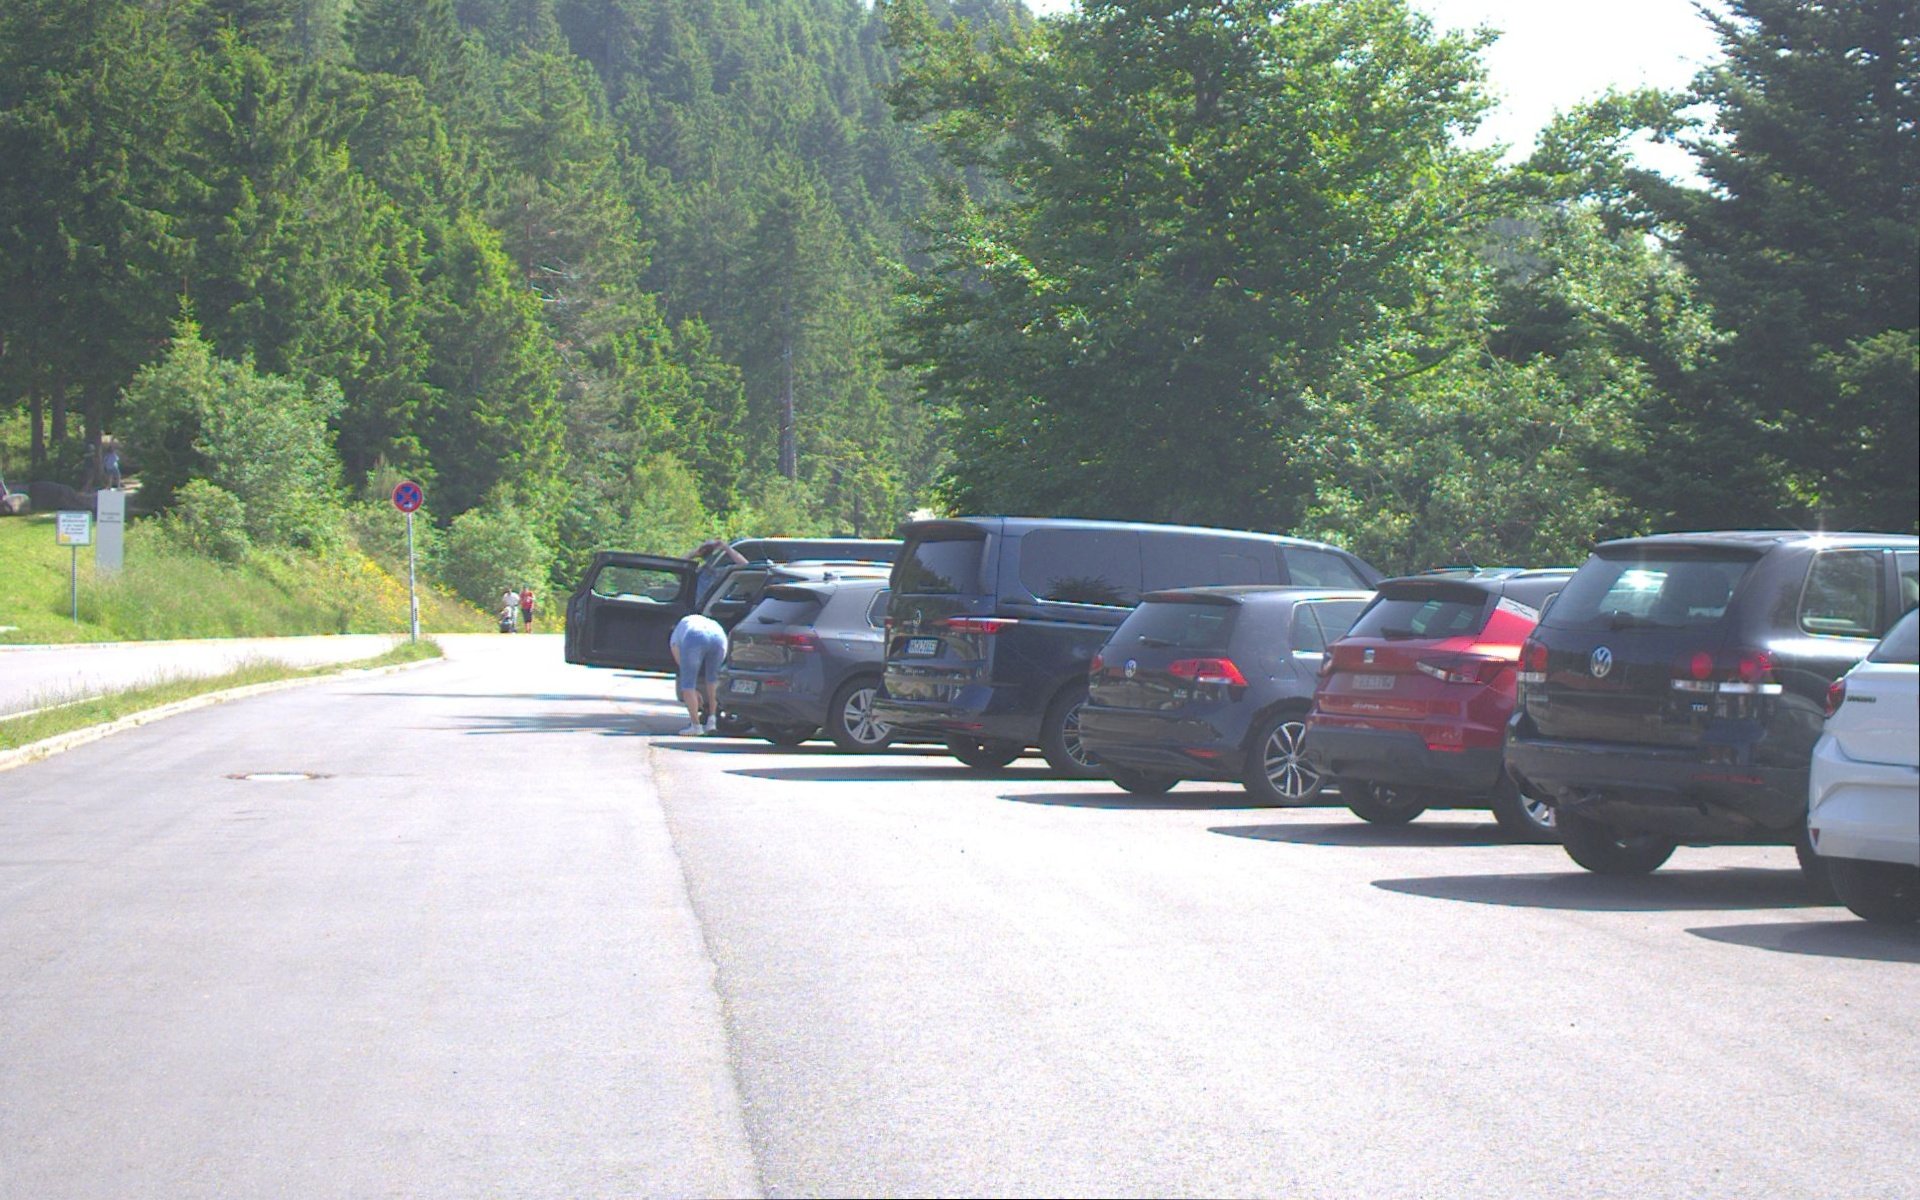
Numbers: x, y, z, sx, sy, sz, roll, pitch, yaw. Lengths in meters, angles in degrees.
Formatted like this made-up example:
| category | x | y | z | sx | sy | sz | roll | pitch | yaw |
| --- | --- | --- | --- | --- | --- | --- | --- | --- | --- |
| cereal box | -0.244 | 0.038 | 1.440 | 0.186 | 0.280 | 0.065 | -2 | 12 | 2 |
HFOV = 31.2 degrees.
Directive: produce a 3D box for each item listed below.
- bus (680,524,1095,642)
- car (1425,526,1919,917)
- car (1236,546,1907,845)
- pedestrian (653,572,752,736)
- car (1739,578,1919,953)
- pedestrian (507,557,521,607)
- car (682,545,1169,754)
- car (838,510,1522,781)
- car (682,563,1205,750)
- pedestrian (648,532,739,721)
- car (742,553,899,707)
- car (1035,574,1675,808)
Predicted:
| category | x | y | z | sx | sy | sz | roll | pitch | yaw |
| --- | --- | --- | --- | --- | --- | --- | --- | --- | --- |
| bus | -2.304 | -0.587 | 109.502 | 12.867 | 3.566 | 2.980 | 1 | 2 | 12 |
| car | 4.565 | 0.563 | 17.088 | 4.260 | 1.689 | 1.990 | 2 | 1 | -37 |
| car | 3.726 | 0.546 | 20.590 | 3.989 | 1.584 | 1.863 | 2 | 1 | -42 |
| pedestrian | -2.268 | 0.469 | 30.379 | 0.773 | 1.398 | 0.669 | -1 | 2 | 1 |
| car | 5.357 | 0.704 | 14.801 | 3.988 | 1.471 | 1.767 | 2 | 0 | -39 |
| pedestrian | -15.644 | -0.632 | 120.612 | 0.395 | 1.741 | 0.406 | 0 | 1 | 4 |
| car | -0.307 | 0.469 | 32.051 | 3.986 | 1.656 | 2.000 | 5 | -1 | -32 |
| car | 1.675 | 0.346 | 26.102 | 4.756 | 1.873 | 1.967 | 2 | 0 | -24 |
| car | -0.138 | 0.482 | 29.194 | 3.986 | 1.438 | 1.840 | 2 | 0 | -26 |
| pedestrian | -2.530 | 0.249 | 32.611 | 0.579 | 1.755 | 0.633 | 3 | 0 | -29 |
| car | -2.042 | 0.384 | 48.932 | 1.905 | 1.966 | 4.820 | 4 | 0 | -5 |
| car | 2.666 | 0.606 | 22.945 | 3.987 | 1.410 | 1.745 | 2 | 1 | -32 |
